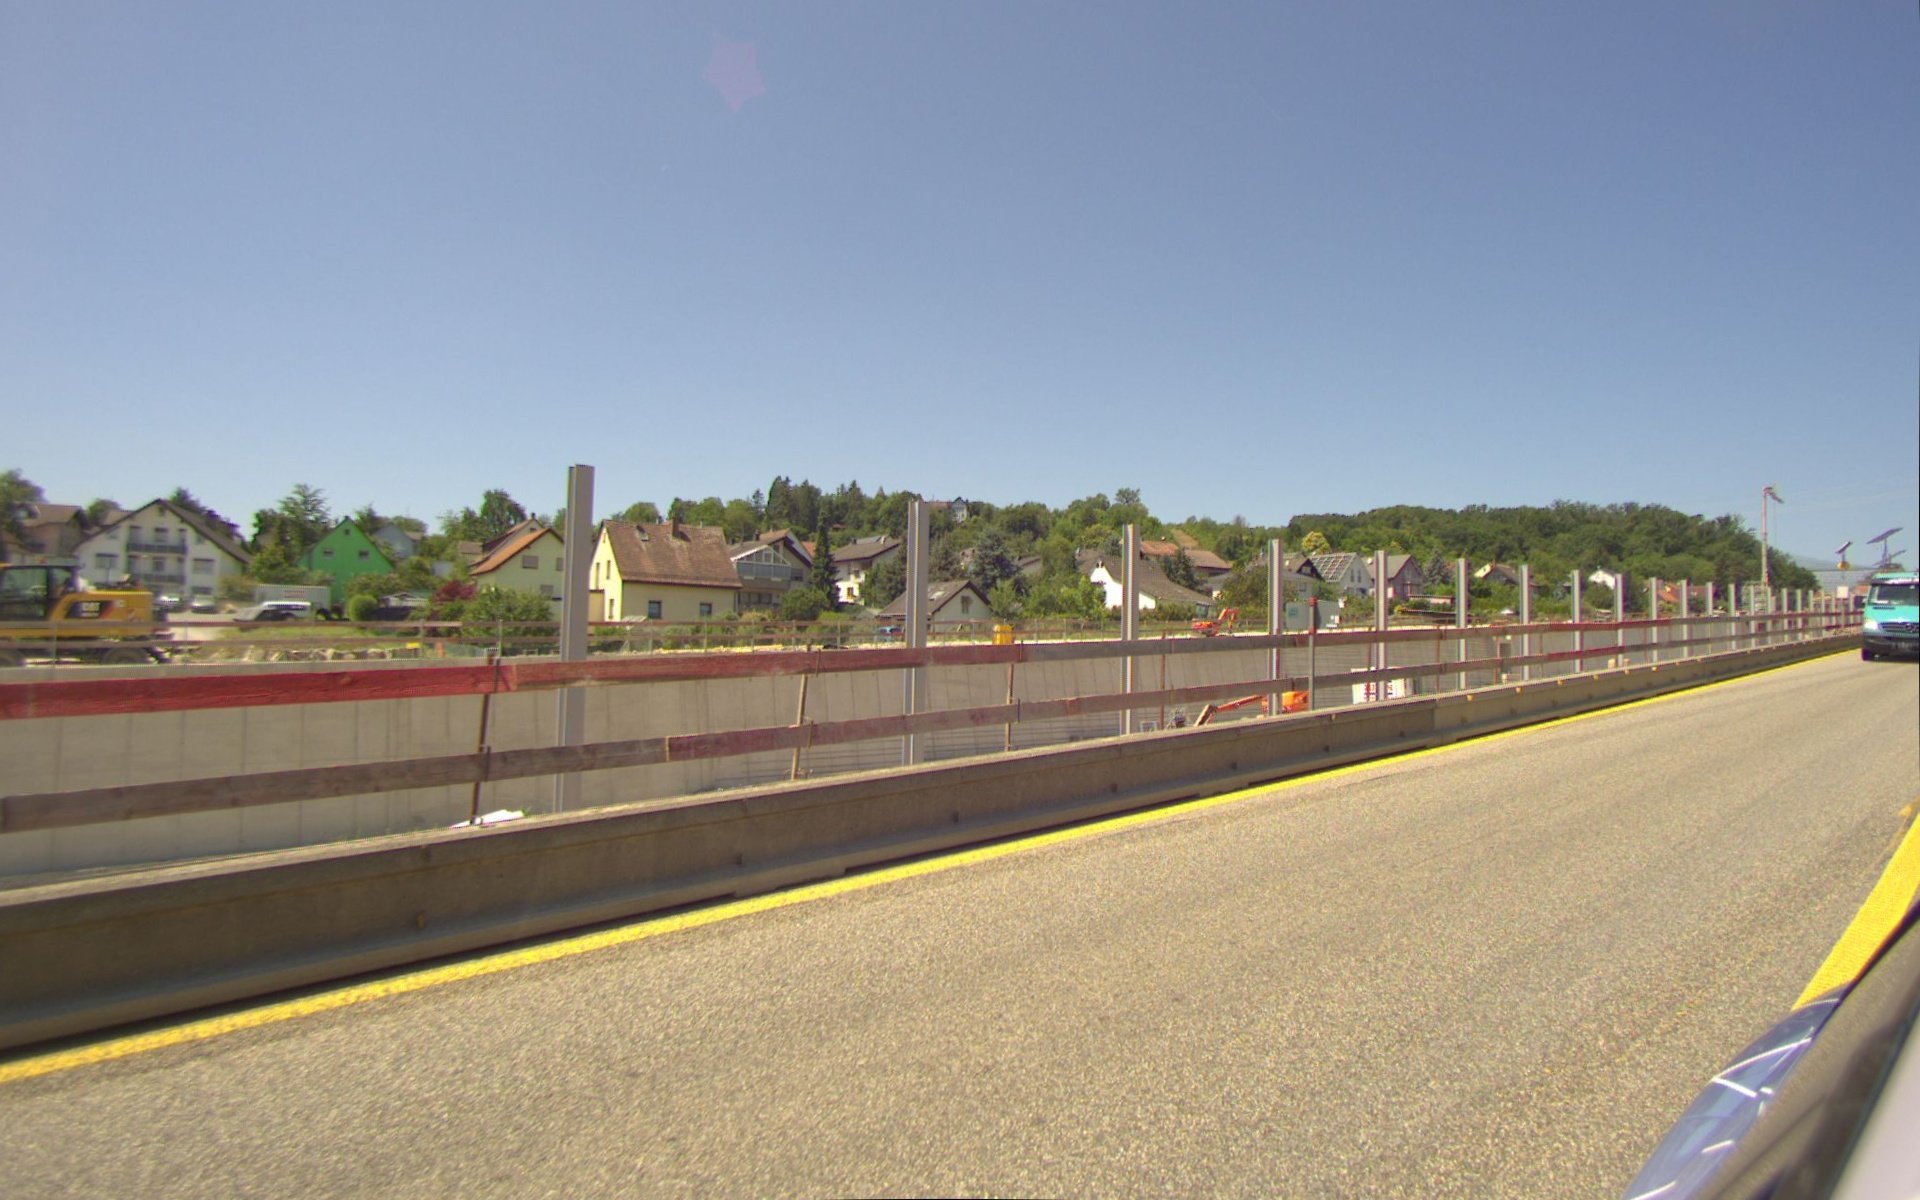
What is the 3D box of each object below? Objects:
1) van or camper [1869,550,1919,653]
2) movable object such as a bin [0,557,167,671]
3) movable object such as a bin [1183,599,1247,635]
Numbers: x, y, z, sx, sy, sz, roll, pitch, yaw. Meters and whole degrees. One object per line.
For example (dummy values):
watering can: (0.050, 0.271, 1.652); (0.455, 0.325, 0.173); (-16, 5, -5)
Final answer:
van or camper: (26.276, 0.078, 27.136); (7.539, 2.504, 2.095); (1, -1, -42)
movable object such as a bin: (-26.624, 0.355, 26.294); (9.315, 2.946, 2.892); (0, -1, -42)
movable object such as a bin: (16.355, 1.057, 64.851); (4.080, 2.267, 1.996); (0, -1, -42)
